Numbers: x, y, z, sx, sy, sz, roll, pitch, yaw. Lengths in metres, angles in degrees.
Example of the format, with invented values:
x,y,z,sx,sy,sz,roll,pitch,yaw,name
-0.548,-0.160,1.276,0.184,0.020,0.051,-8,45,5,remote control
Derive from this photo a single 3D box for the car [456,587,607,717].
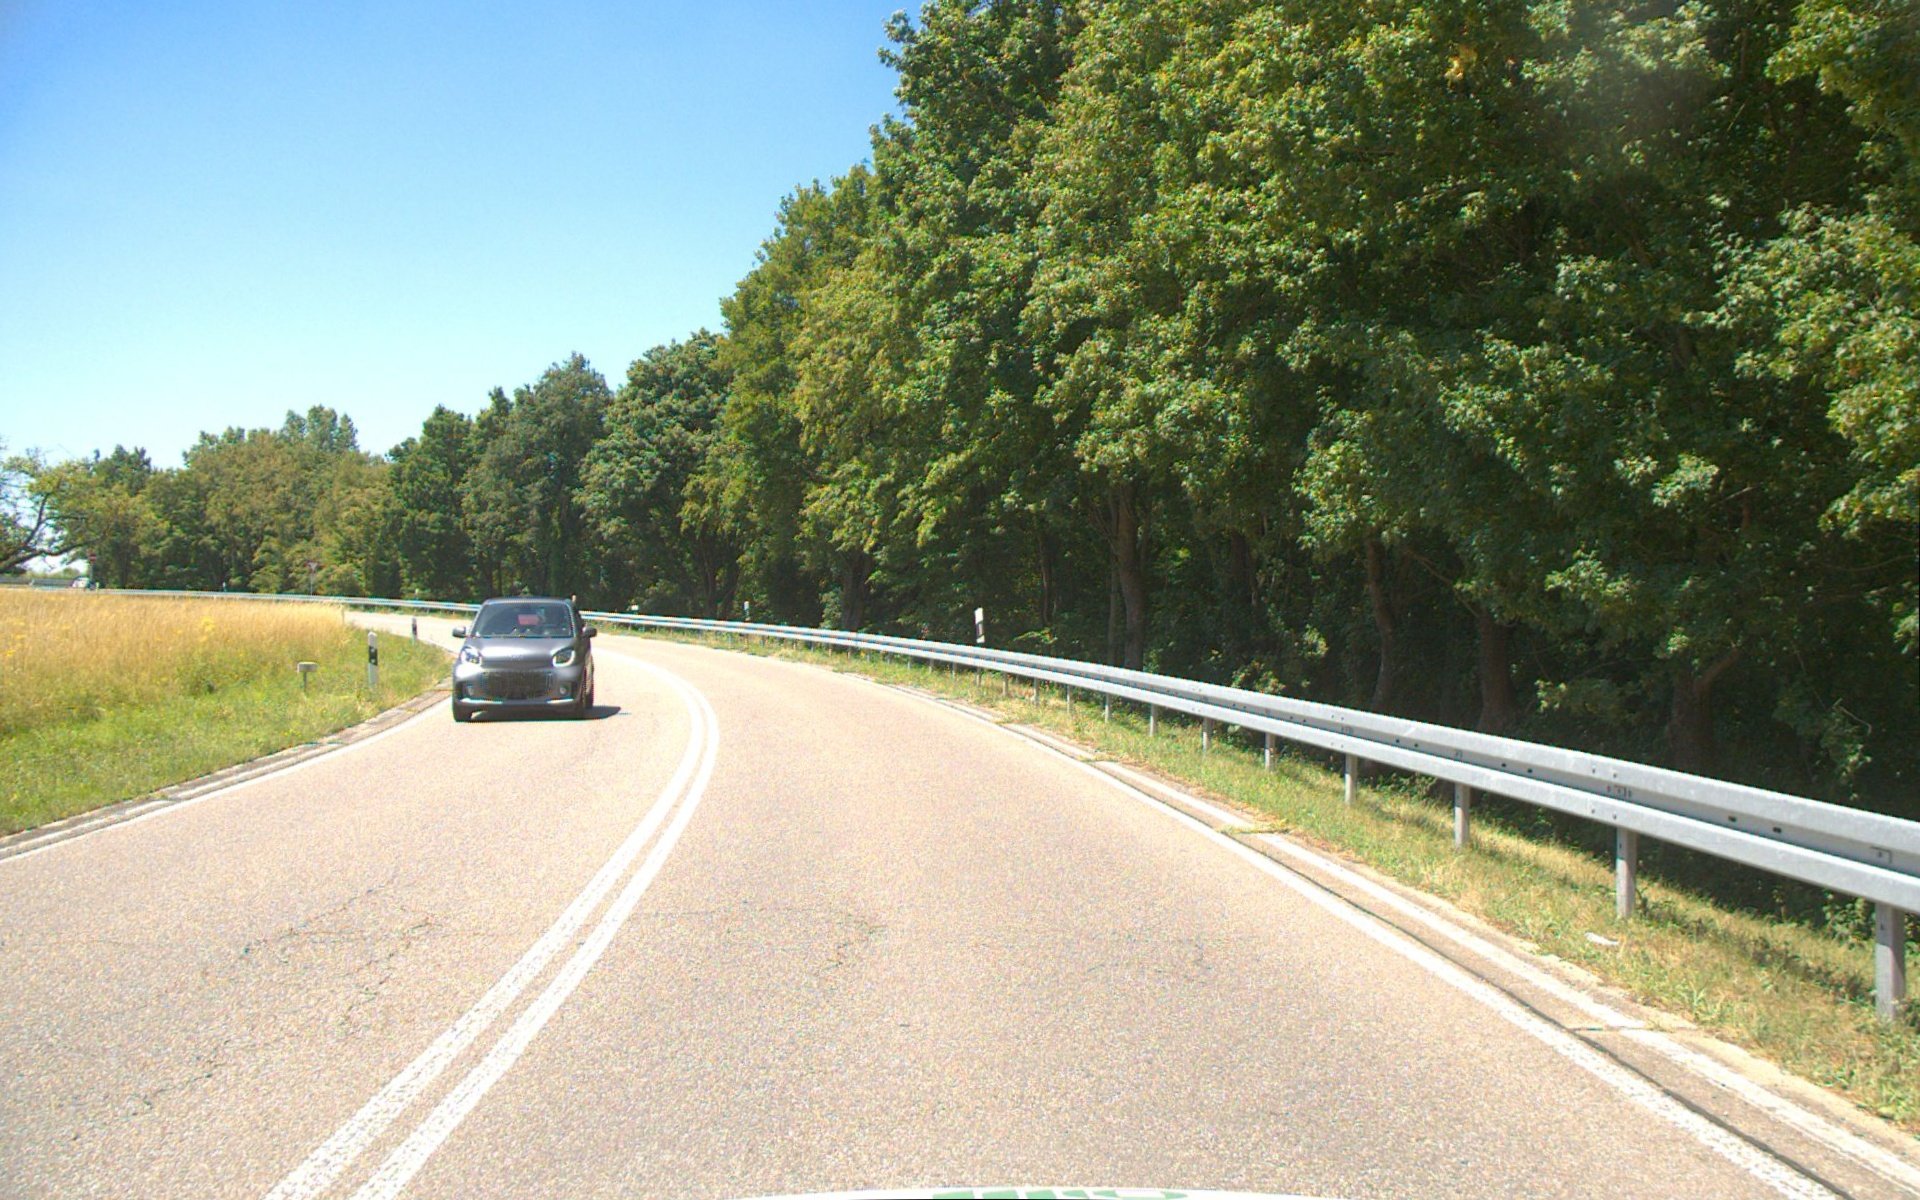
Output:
x,y,z,sx,sy,sz,roll,pitch,yaw,name
-5.750,0.640,22.554,1.703,1.533,4.062,1,1,-11,car

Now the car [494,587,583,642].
x,y,z,sx,sy,sz,roll,pitch,yaw,name
-12.651,0.457,49.509,1.799,1.483,4.365,-2,-1,-25,car
